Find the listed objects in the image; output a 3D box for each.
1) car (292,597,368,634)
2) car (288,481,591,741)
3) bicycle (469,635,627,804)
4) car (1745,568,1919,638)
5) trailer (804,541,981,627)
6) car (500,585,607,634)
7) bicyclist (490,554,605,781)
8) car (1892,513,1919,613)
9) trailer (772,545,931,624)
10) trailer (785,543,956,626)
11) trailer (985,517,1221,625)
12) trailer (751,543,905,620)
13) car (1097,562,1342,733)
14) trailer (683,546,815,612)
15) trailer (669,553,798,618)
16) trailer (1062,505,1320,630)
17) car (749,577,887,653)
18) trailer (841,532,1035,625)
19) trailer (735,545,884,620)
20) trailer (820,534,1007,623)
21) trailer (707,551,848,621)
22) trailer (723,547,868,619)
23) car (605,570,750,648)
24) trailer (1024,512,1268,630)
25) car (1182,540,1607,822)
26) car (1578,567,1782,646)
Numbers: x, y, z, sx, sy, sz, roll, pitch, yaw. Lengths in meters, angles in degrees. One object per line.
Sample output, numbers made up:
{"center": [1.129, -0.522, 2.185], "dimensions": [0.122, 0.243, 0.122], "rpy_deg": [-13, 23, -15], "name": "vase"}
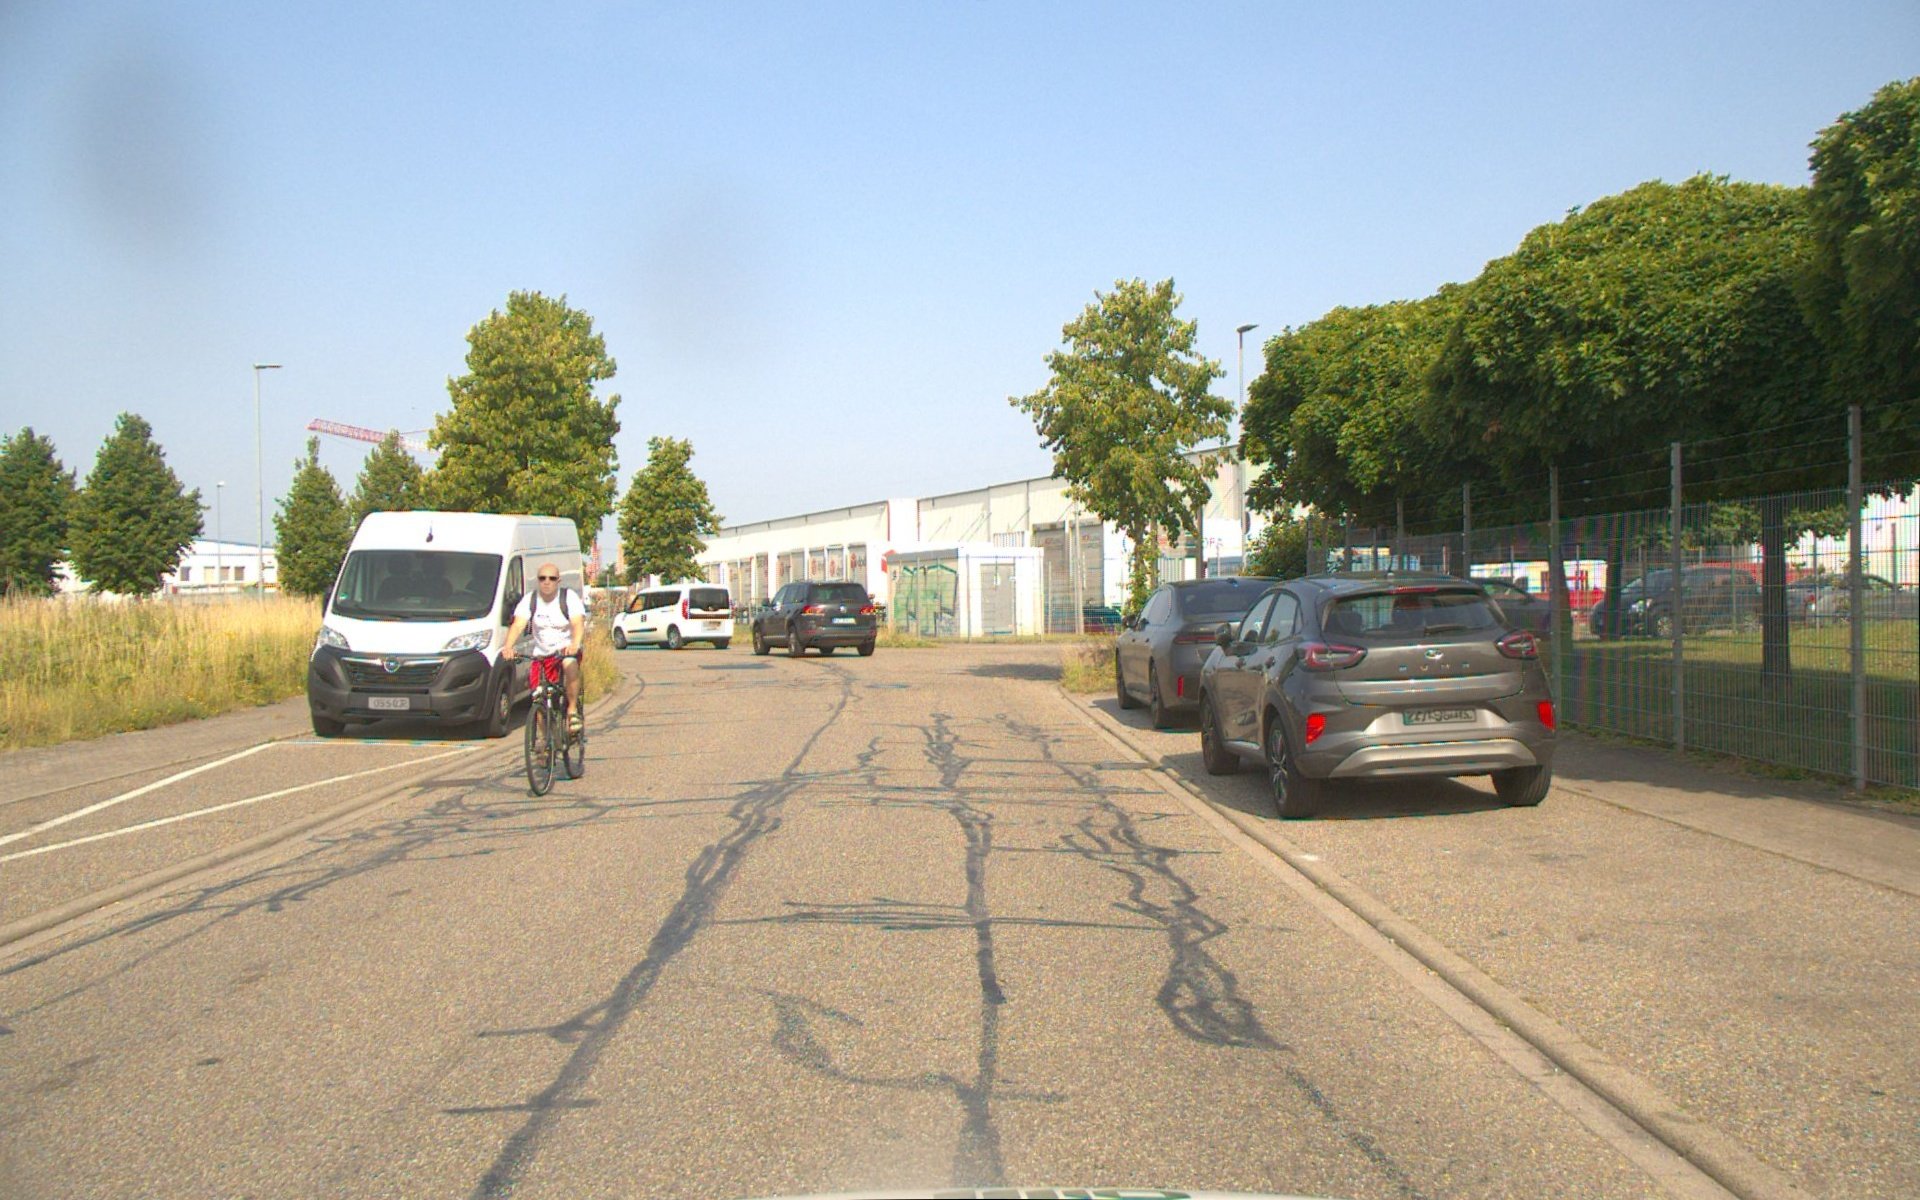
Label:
{"center": [-28.618, 0.707, 75.136], "dimensions": [3.936, 1.541, 1.709], "rpy_deg": [-1, 2, 44], "name": "car"}
{"center": [-6.107, 0.087, 20.362], "dimensions": [2.061, 2.640, 6.498], "rpy_deg": [1, 0, -4], "name": "car"}
{"center": [-3.293, 0.914, 13.430], "dimensions": [0.701, 1.141, 2.219], "rpy_deg": [-3, 1, -1], "name": "bicycle"}
{"center": [21.188, 0.065, 39.649], "dimensions": [4.413, 1.544, 1.717], "rpy_deg": [-1, -2, -21], "name": "car"}
{"center": [-3.263, -0.740, 80.905], "dimensions": [8.203, 3.961, 2.754], "rpy_deg": [1, 0, -26], "name": "trailer"}
{"center": [-14.876, 0.339, 60.388], "dimensions": [1.791, 1.654, 4.377], "rpy_deg": [-4, 2, -44], "name": "car"}
{"center": [-3.316, 0.516, 13.385], "dimensions": [0.626, 1.749, 1.165], "rpy_deg": [-1, 0, -1], "name": "bicyclist"}
{"center": [27.547, -0.985, 42.820], "dimensions": [6.728, 2.526, 2.194], "rpy_deg": [-1, 2, -21], "name": "car"}
{"center": [-5.733, -0.781, 87.446], "dimensions": [7.932, 3.961, 2.754], "rpy_deg": [1, 0, -26], "name": "trailer"}
{"center": [-4.506, -0.721, 83.707], "dimensions": [8.203, 3.961, 2.754], "rpy_deg": [1, 0, -26], "name": "trailer"}
{"center": [5.411, -1.041, 61.930], "dimensions": [8.621, 3.827, 2.768], "rpy_deg": [0, -1, -25], "name": "trailer"}
{"center": [-7.155, -0.979, 90.045], "dimensions": [7.862, 3.961, 2.754], "rpy_deg": [1, 0, -26], "name": "trailer"}
{"center": [2.781, 0.467, 18.918], "dimensions": [1.843, 1.601, 5.117], "rpy_deg": [-3, 0, -1], "name": "car"}
{"center": [-13.341, -1.279, 104.765], "dimensions": [7.862, 3.961, 2.754], "rpy_deg": [1, 0, -26], "name": "trailer"}
{"center": [-14.692, -0.919, 107.469], "dimensions": [7.862, 3.961, 2.754], "rpy_deg": [1, 0, -26], "name": "trailer"}
{"center": [7.900, -1.090, 56.390], "dimensions": [8.420, 3.962, 2.756], "rpy_deg": [-1, -2, -23], "name": "trailer"}
{"center": [-3.301, 0.335, 37.816], "dimensions": [1.857, 1.614, 4.081], "rpy_deg": [-1, 0, -25], "name": "car"}
{"center": [-0.976, -0.929, 75.189], "dimensions": [8.428, 3.961, 2.754], "rpy_deg": [1, 0, -26], "name": "trailer"}
{"center": [-8.409, -0.952, 92.765], "dimensions": [7.862, 3.961, 2.754], "rpy_deg": [1, 0, -26], "name": "trailer"}
{"center": [-2.175, -0.980, 78.121], "dimensions": [8.428, 3.961, 2.754], "rpy_deg": [1, 0, -26], "name": "trailer"}
{"center": [-10.824, -0.803, 98.238], "dimensions": [7.862, 3.961, 2.754], "rpy_deg": [1, 0, -26], "name": "trailer"}
{"center": [-9.493, -0.943, 95.533], "dimensions": [7.862, 3.961, 2.754], "rpy_deg": [1, 0, -26], "name": "trailer"}
{"center": [-8.320, 0.267, 48.415], "dimensions": [2.110, 2.147, 4.554], "rpy_deg": [-1, 0, -41], "name": "car"}
{"center": [6.715, -1.082, 59.306], "dimensions": [8.424, 3.961, 2.755], "rpy_deg": [-2, 0, -24], "name": "trailer"}
{"center": [2.876, 0.483, 11.935], "dimensions": [1.843, 1.601, 4.112], "rpy_deg": [-2, 0, -1], "name": "car"}
{"center": [16.213, 0.111, 37.255], "dimensions": [4.197, 1.654, 1.865], "rpy_deg": [-1, 2, -23], "name": "car"}
